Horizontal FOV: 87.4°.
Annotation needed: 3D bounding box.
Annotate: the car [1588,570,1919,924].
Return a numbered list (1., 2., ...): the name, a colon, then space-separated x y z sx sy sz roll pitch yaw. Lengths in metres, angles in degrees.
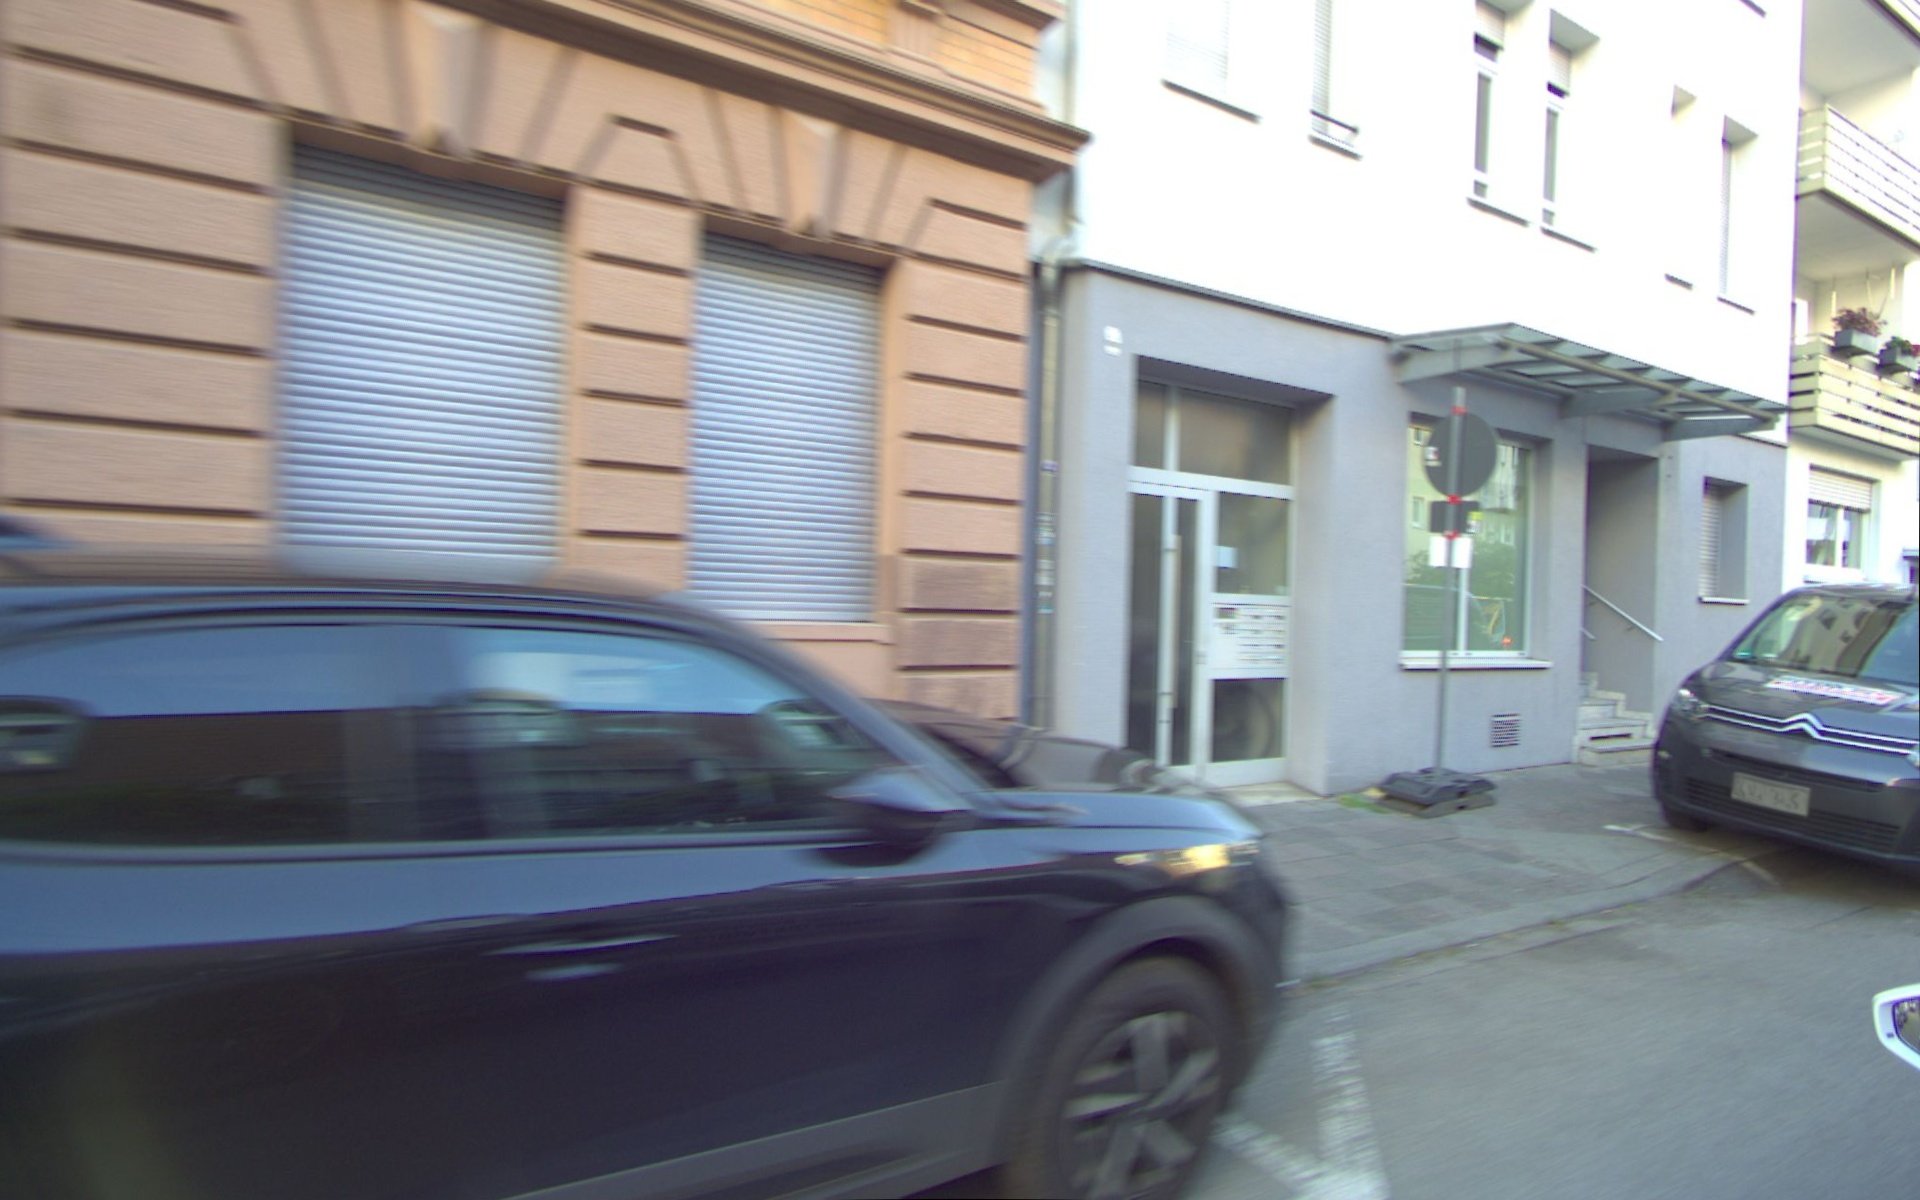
1. car: 6.686 0.822 7.129 4.534 1.883 1.982 2 1 -32

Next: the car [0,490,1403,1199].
1. car: -0.921 0.675 2.487 3.969 1.621 1.731 2 0 -32
